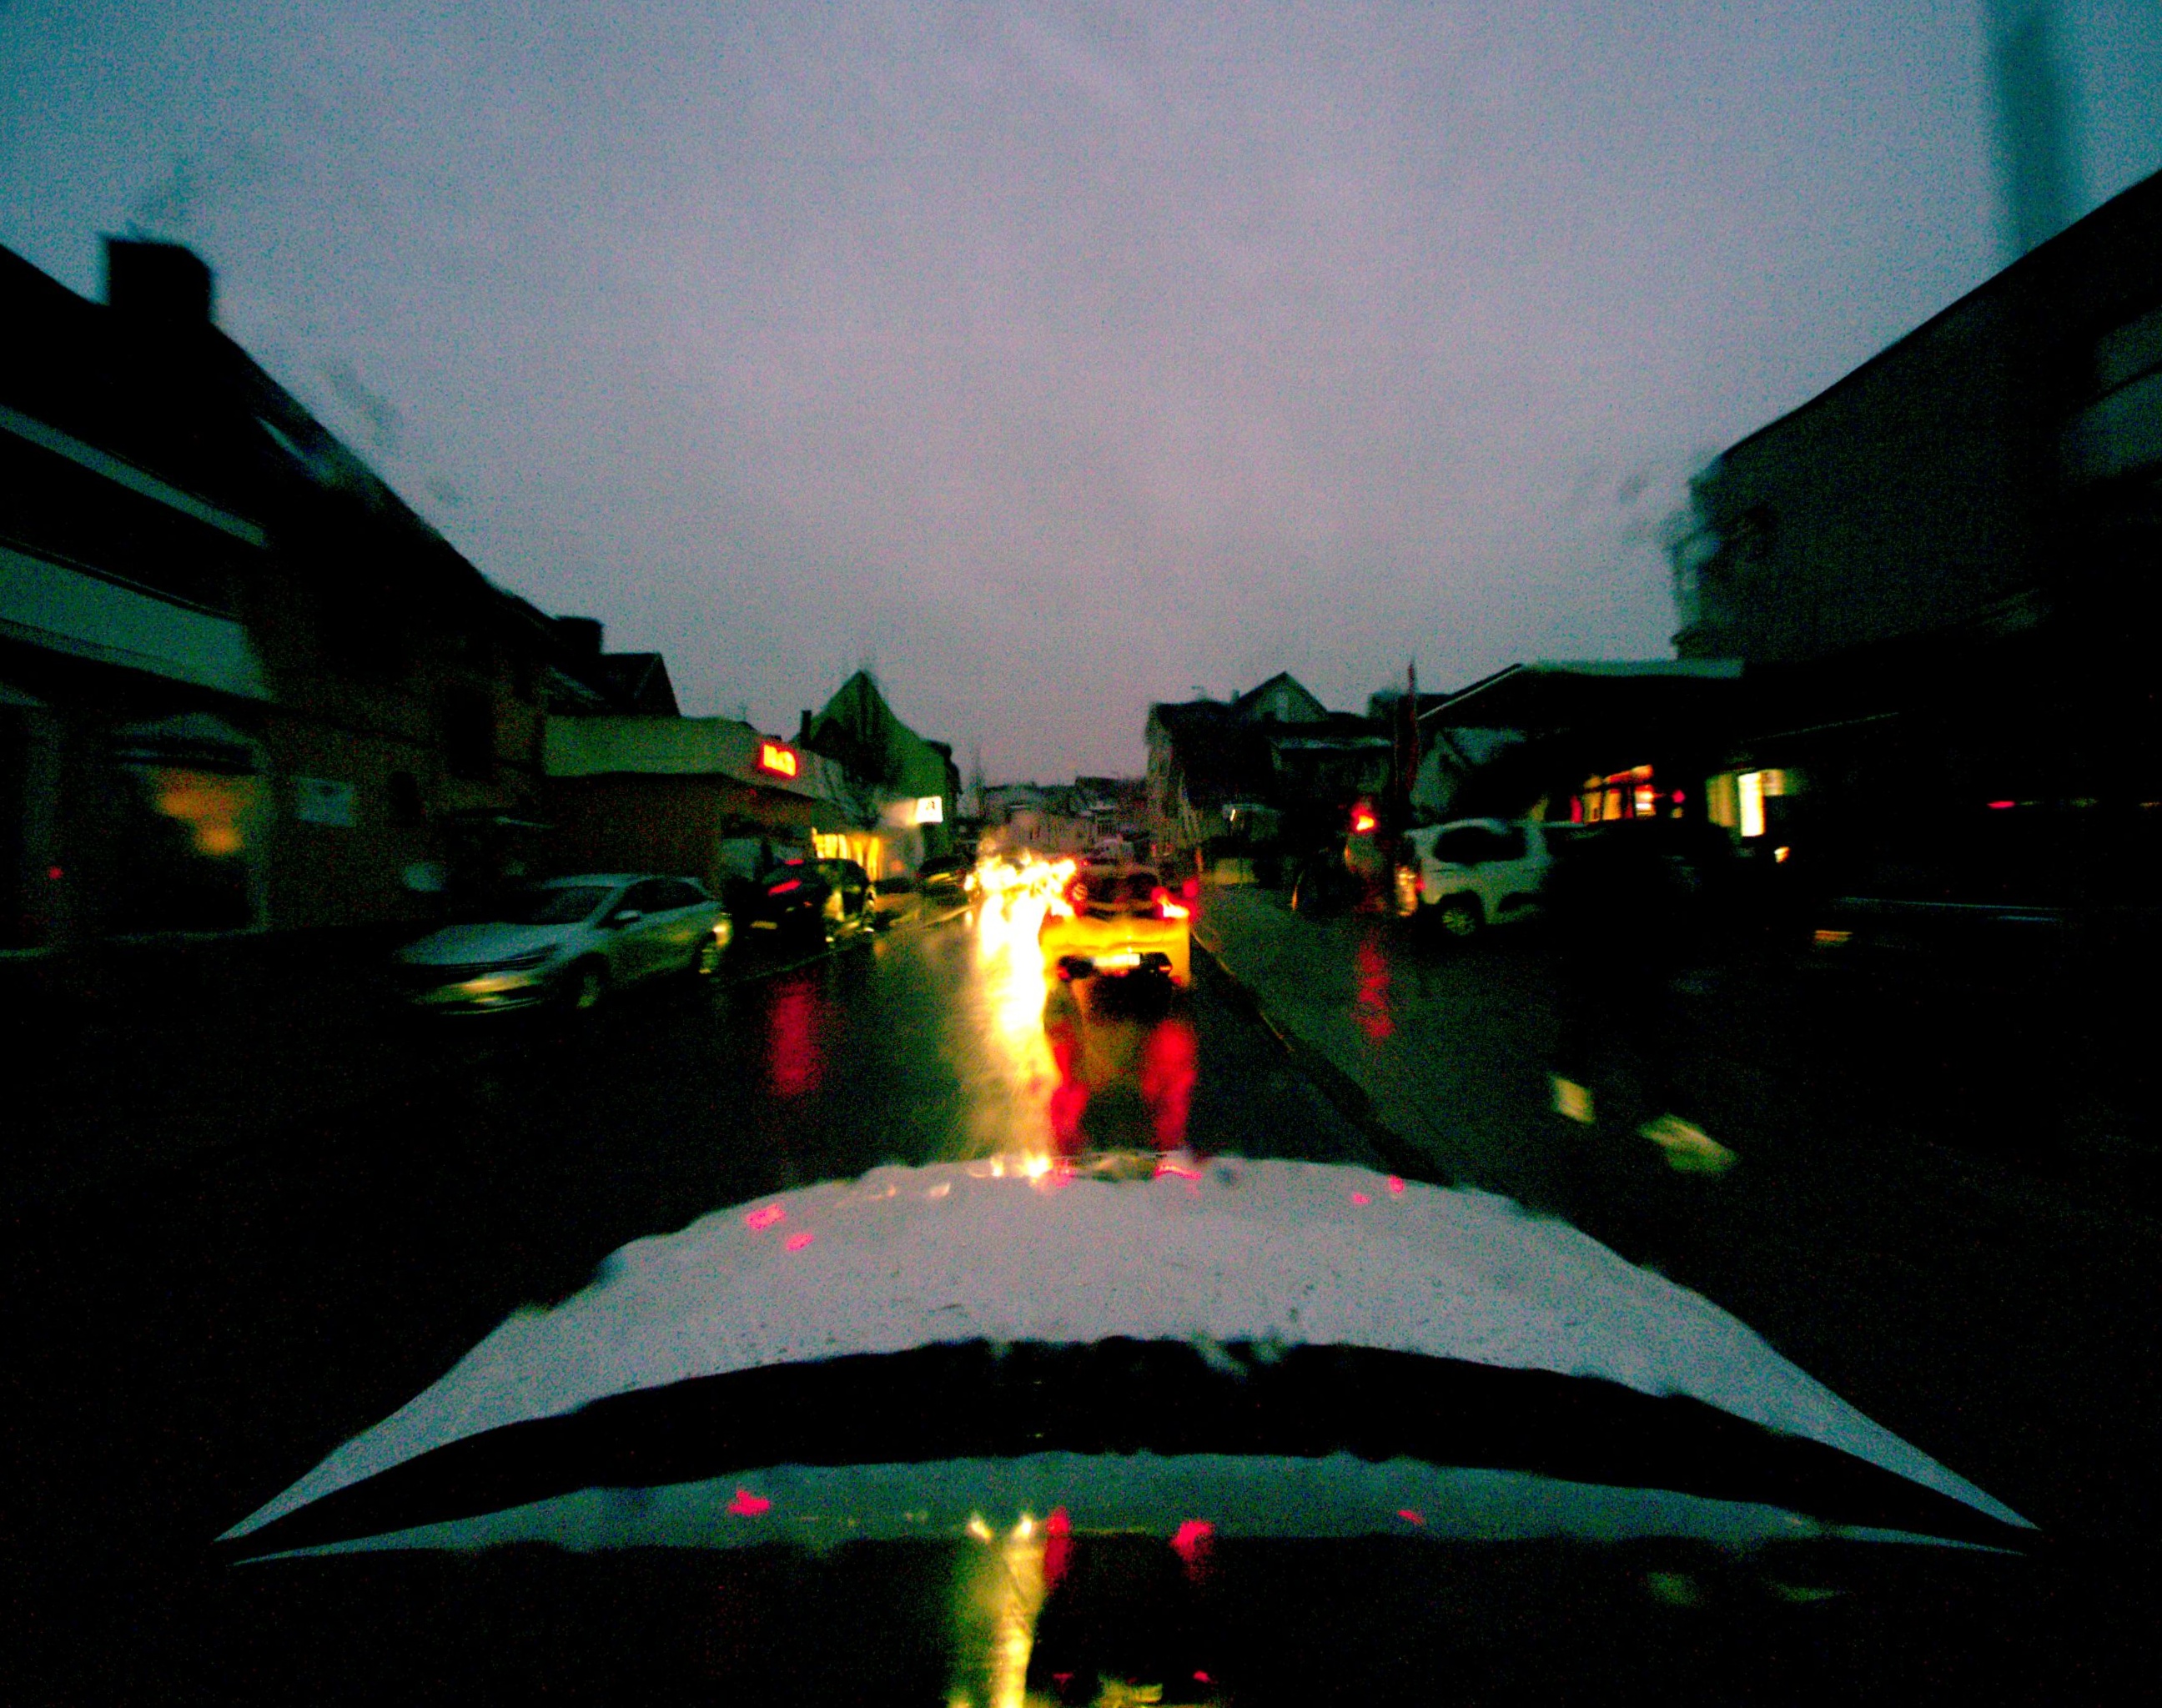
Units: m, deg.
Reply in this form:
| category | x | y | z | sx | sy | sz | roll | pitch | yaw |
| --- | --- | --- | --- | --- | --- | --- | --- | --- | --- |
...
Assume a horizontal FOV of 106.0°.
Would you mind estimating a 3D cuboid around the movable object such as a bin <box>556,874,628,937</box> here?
| category | x | y | z | sx | sy | sz | roll | pitch | yaw |
| --- | --- | --- | --- | --- | --- | --- | --- | --- | --- |
| movable object such as a bin | -11.138 | 1.162 | 18.591 | 1.150 | 1.354 | 0.849 | -1 | 0 | -10 |

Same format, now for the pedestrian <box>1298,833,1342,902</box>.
| category | x | y | z | sx | sy | sz | roll | pitch | yaw |
| --- | --- | --- | --- | --- | --- | --- | --- | --- | --- |
| pedestrian | 6.127 | 0.335 | 20.914 | 0.703 | 1.705 | 0.913 | -3 | -1 | -7 |

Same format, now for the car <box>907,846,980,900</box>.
| category | x | y | z | sx | sy | sz | roll | pitch | yaw |
| --- | --- | --- | --- | --- | --- | --- | --- | --- | --- |
| car | -4.947 | 0.645 | 30.034 | 2.081 | 1.792 | 5.018 | -1 | 0 | -3 |

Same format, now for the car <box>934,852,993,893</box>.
| category | x | y | z | sx | sy | sz | roll | pitch | yaw |
| --- | --- | --- | --- | --- | --- | --- | --- | --- | --- |
| car | -5.143 | 0.772 | 36.220 | 1.874 | 1.710 | 4.712 | 0 | 0 | 0 |

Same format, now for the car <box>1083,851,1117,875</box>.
| category | x | y | z | sx | sy | sz | roll | pitch | yaw |
| --- | --- | --- | --- | --- | --- | --- | --- | --- | --- |
| car | 1.228 | 0.585 | 54.788 | 1.989 | 1.588 | 3.995 | 0 | 0 | -3 |

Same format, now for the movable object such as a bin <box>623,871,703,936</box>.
| category | x | y | z | sx | sy | sz | roll | pitch | yaw |
| --- | --- | --- | --- | --- | --- | --- | --- | --- | --- |
| movable object such as a bin | -9.609 | 1.129 | 18.789 | 1.340 | 1.354 | 0.886 | -4 | -1 | -9 |

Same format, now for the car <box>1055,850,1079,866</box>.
| category | x | y | z | sx | sy | sz | roll | pitch | yaw |
| --- | --- | --- | --- | --- | --- | --- | --- | --- | --- |
| car | -1.767 | 0.476 | 101.693 | 1.998 | 1.765 | 4.327 | -3 | 1 | -16 |

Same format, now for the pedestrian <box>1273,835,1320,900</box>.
| category | x | y | z | sx | sy | sz | roll | pitch | yaw |
| --- | --- | --- | --- | --- | --- | --- | --- | --- | --- |
| pedestrian | 5.822 | 0.360 | 21.966 | 0.844 | 1.705 | 0.835 | -2 | -1 | -45 |

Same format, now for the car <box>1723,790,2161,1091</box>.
| category | x | y | z | sx | sy | sz | roll | pitch | yaw |
| --- | --- | --- | --- | --- | --- | --- | --- | --- | --- |
| car | 6.702 | 0.389 | 4.960 | 3.970 | 1.486 | 1.914 | -2 | -1 | 3 |

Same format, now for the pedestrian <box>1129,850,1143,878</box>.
| category | x | y | z | sx | sy | sz | roll | pitch | yaw |
| --- | --- | --- | --- | --- | --- | --- | --- | --- | --- |
| pedestrian | 3.540 | 0.623 | 52.371 | 0.743 | 1.729 | 0.872 | -1 | 1 | -2 |

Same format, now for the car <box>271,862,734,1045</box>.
| category | x | y | z | sx | sy | sz | roll | pitch | yaw |
| --- | --- | --- | --- | --- | --- | --- | --- | --- | --- |
| car | -6.079 | 0.901 | 9.481 | 1.986 | 1.558 | 4.622 | 0 | 0 | 1 |

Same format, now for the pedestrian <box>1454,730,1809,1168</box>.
| category | x | y | z | sx | sy | sz | roll | pitch | yaw |
| --- | --- | --- | --- | --- | --- | --- | --- | --- | --- |
| pedestrian | 2.722 | 0.425 | 4.183 | 0.964 | 1.889 | 1.005 | -6 | 0 | -2 |

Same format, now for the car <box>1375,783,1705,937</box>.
| category | x | y | z | sx | sy | sz | roll | pitch | yaw |
| --- | --- | --- | --- | --- | --- | --- | --- | --- | --- |
| car | 7.074 | 0.116 | 13.022 | 4.067 | 2.049 | 2.005 | -3 | 0 | 9 |

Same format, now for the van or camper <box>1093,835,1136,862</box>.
| category | x | y | z | sx | sy | sz | roll | pitch | yaw |
| --- | --- | --- | --- | --- | --- | --- | --- | --- | --- |
| van or camper | 4.177 | -0.656 | 102.823 | 2.662 | 3.047 | 6.685 | -5 | 1 | -22 |

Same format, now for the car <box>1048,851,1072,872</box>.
| category | x | y | z | sx | sy | sz | roll | pitch | yaw |
| --- | --- | --- | --- | --- | --- | --- | --- | --- | --- |
| car | -1.949 | 0.658 | 75.559 | 1.990 | 1.857 | 3.993 | 0 | 0 | -5 |

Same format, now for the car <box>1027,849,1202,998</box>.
| category | x | y | z | sx | sy | sz | roll | pitch | yaw |
| --- | --- | --- | --- | --- | --- | --- | --- | --- | --- |
| car | 0.307 | 0.727 | 10.429 | 1.809 | 1.533 | 3.998 | 0 | 0 | -1 |

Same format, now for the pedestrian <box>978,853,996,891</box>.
| category | x | y | z | sx | sy | sz | roll | pitch | yaw |
| --- | --- | --- | --- | --- | --- | --- | --- | --- | --- |
| pedestrian | -4.026 | 0.763 | 34.939 | 0.532 | 1.585 | 0.570 | -2 | 1 | -34 |

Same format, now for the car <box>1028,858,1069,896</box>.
| category | x | y | z | sx | sy | sz | roll | pitch | yaw |
| --- | --- | --- | --- | --- | --- | --- | --- | --- | --- |
| car | -1.718 | 1.145 | 42.305 | 1.947 | 1.546 | 4.412 | -3 | 3 | -3 |

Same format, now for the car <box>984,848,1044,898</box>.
| category | x | y | z | sx | sy | sz | roll | pitch | yaw |
| --- | --- | --- | --- | --- | --- | --- | --- | --- | --- |
| car | -2.531 | 0.681 | 31.808 | 1.988 | 1.705 | 4.965 | 1 | 1 | -1 |

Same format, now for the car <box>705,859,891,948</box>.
| category | x | y | z | sx | sy | sz | roll | pitch | yaw |
| --- | --- | --- | --- | --- | --- | --- | --- | --- | --- |
| car | -5.579 | 0.890 | 16.850 | 1.986 | 1.522 | 4.979 | -1 | 0 | 1 |

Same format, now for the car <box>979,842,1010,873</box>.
| category | x | y | z | sx | sy | sz | roll | pitch | yaw |
| --- | --- | --- | --- | --- | --- | --- | --- | --- | --- |
| car | -7.324 | 0.336 | 69.314 | 2.482 | 2.560 | 6.746 | 0 | -1 | -6 |
